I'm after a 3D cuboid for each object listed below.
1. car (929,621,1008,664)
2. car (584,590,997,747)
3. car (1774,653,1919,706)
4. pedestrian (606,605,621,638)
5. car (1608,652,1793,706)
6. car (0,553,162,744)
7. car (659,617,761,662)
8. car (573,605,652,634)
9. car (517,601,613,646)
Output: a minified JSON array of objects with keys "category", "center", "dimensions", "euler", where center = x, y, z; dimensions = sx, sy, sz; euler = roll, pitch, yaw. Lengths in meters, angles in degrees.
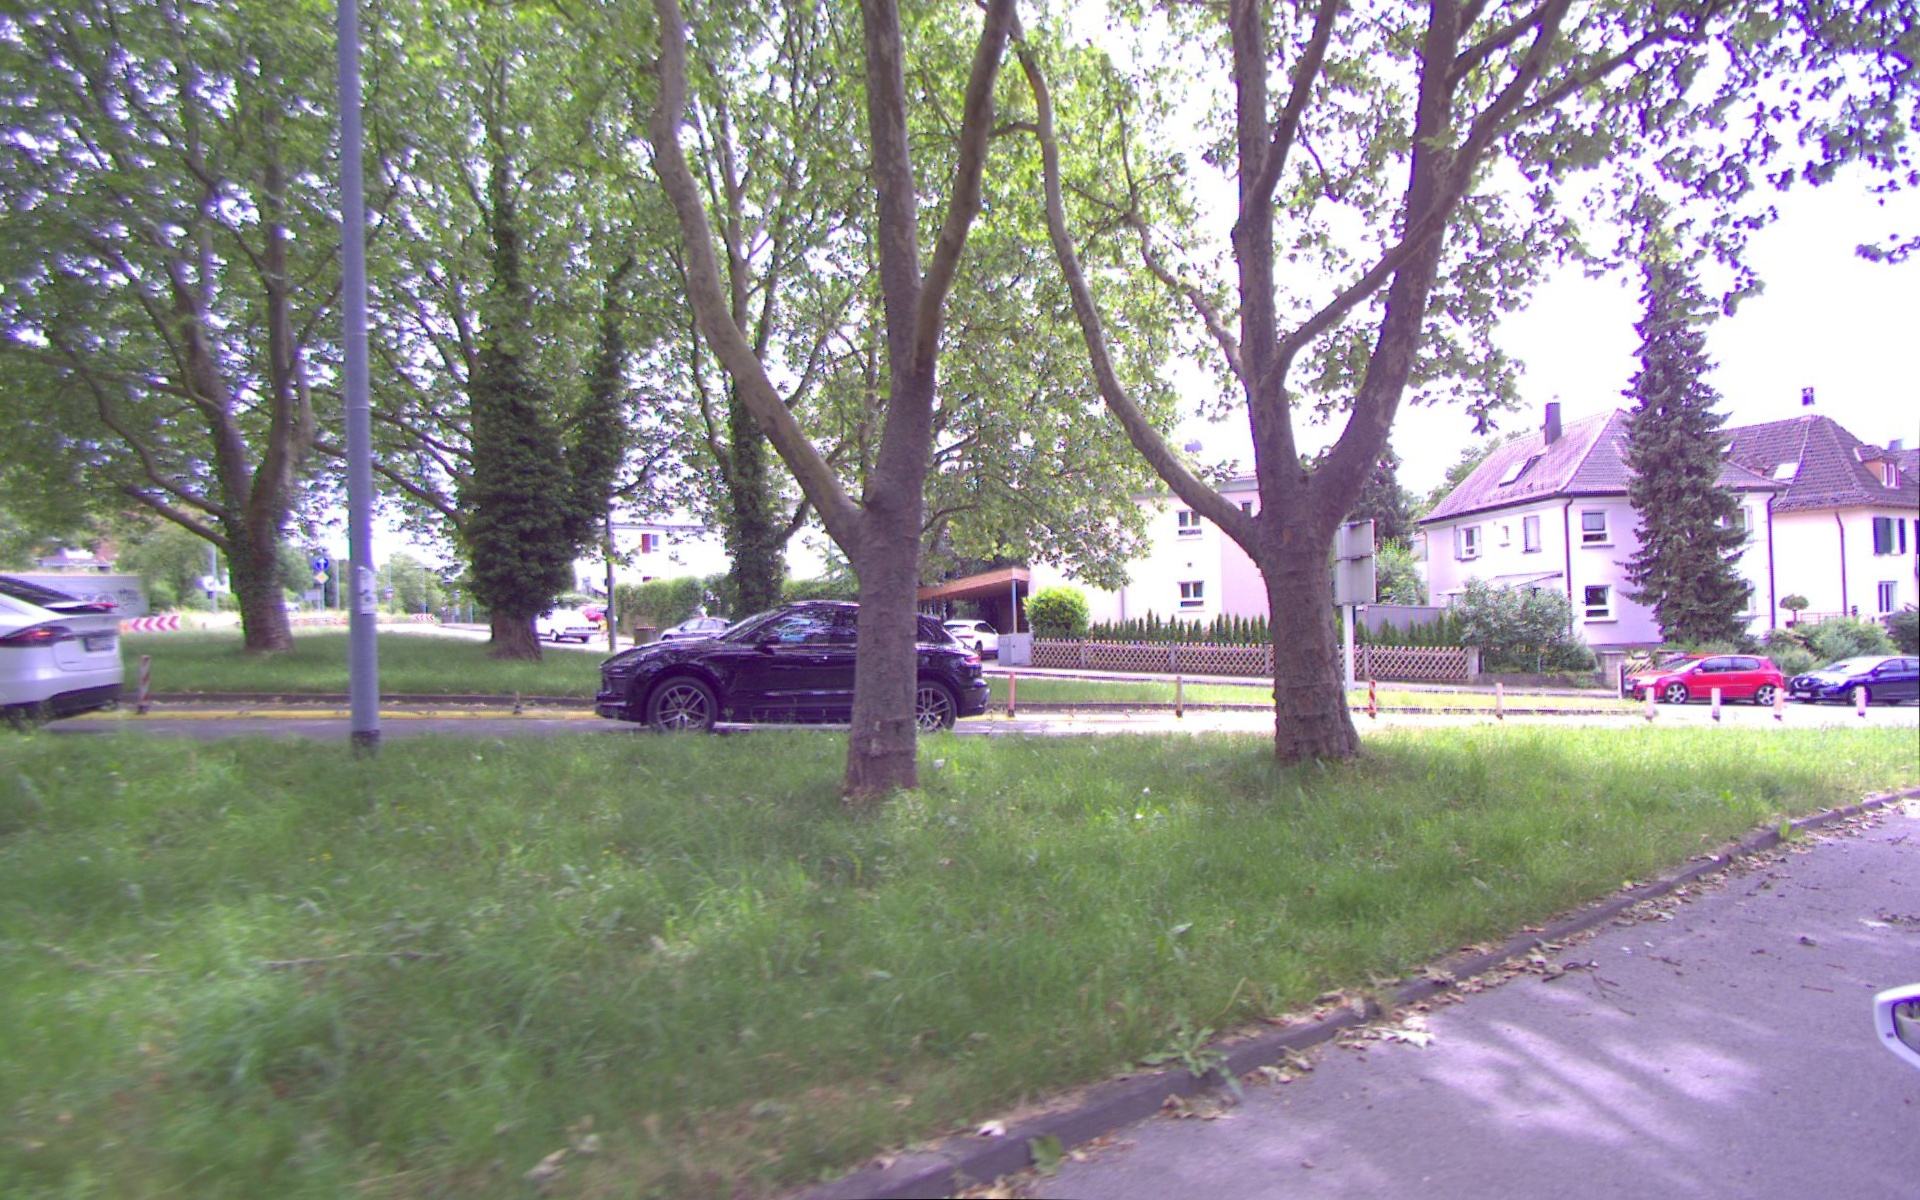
[{"category":"car","center":[0.378,1.705,40.614],"dimensions":[1.841,1.568,3.375],"euler":[-2,-1,27]},{"category":"car","center":[-2.007,0.831,12.026],"dimensions":[4.542,1.612,1.755],"euler":[3,-2,-19]},{"category":"car","center":[26.961,2.340,29.838],"dimensions":[4.231,1.493,1.732],"euler":[0,-2,-2]},{"category":"pedestrian","center":[-16.989,1.039,49.244],"dimensions":[0.565,1.585,0.638],"euler":[-2,0,-30]},{"category":"car","center":[22.117,2.348,30.111],"dimensions":[4.193,1.493,1.733],"euler":[0,-2,3]},{"category":"car","center":[-10.583,0.486,9.110],"dimensions":[4.830,1.680,1.850],"euler":[-1,0,-19]},{"category":"car","center":[-10.151,1.569,40.740],"dimensions":[3.925,1.534,1.658],"euler":[2,2,29]},{"category":"car","center":[-19.078,1.059,55.207],"dimensions":[3.796,1.537,1.590],"euler":[2,-1,-42]},{"category":"car","center":[-18.530,1.051,47.046],"dimensions":[4.810,1.815,2.206],"euler":[2,2,40]}]
